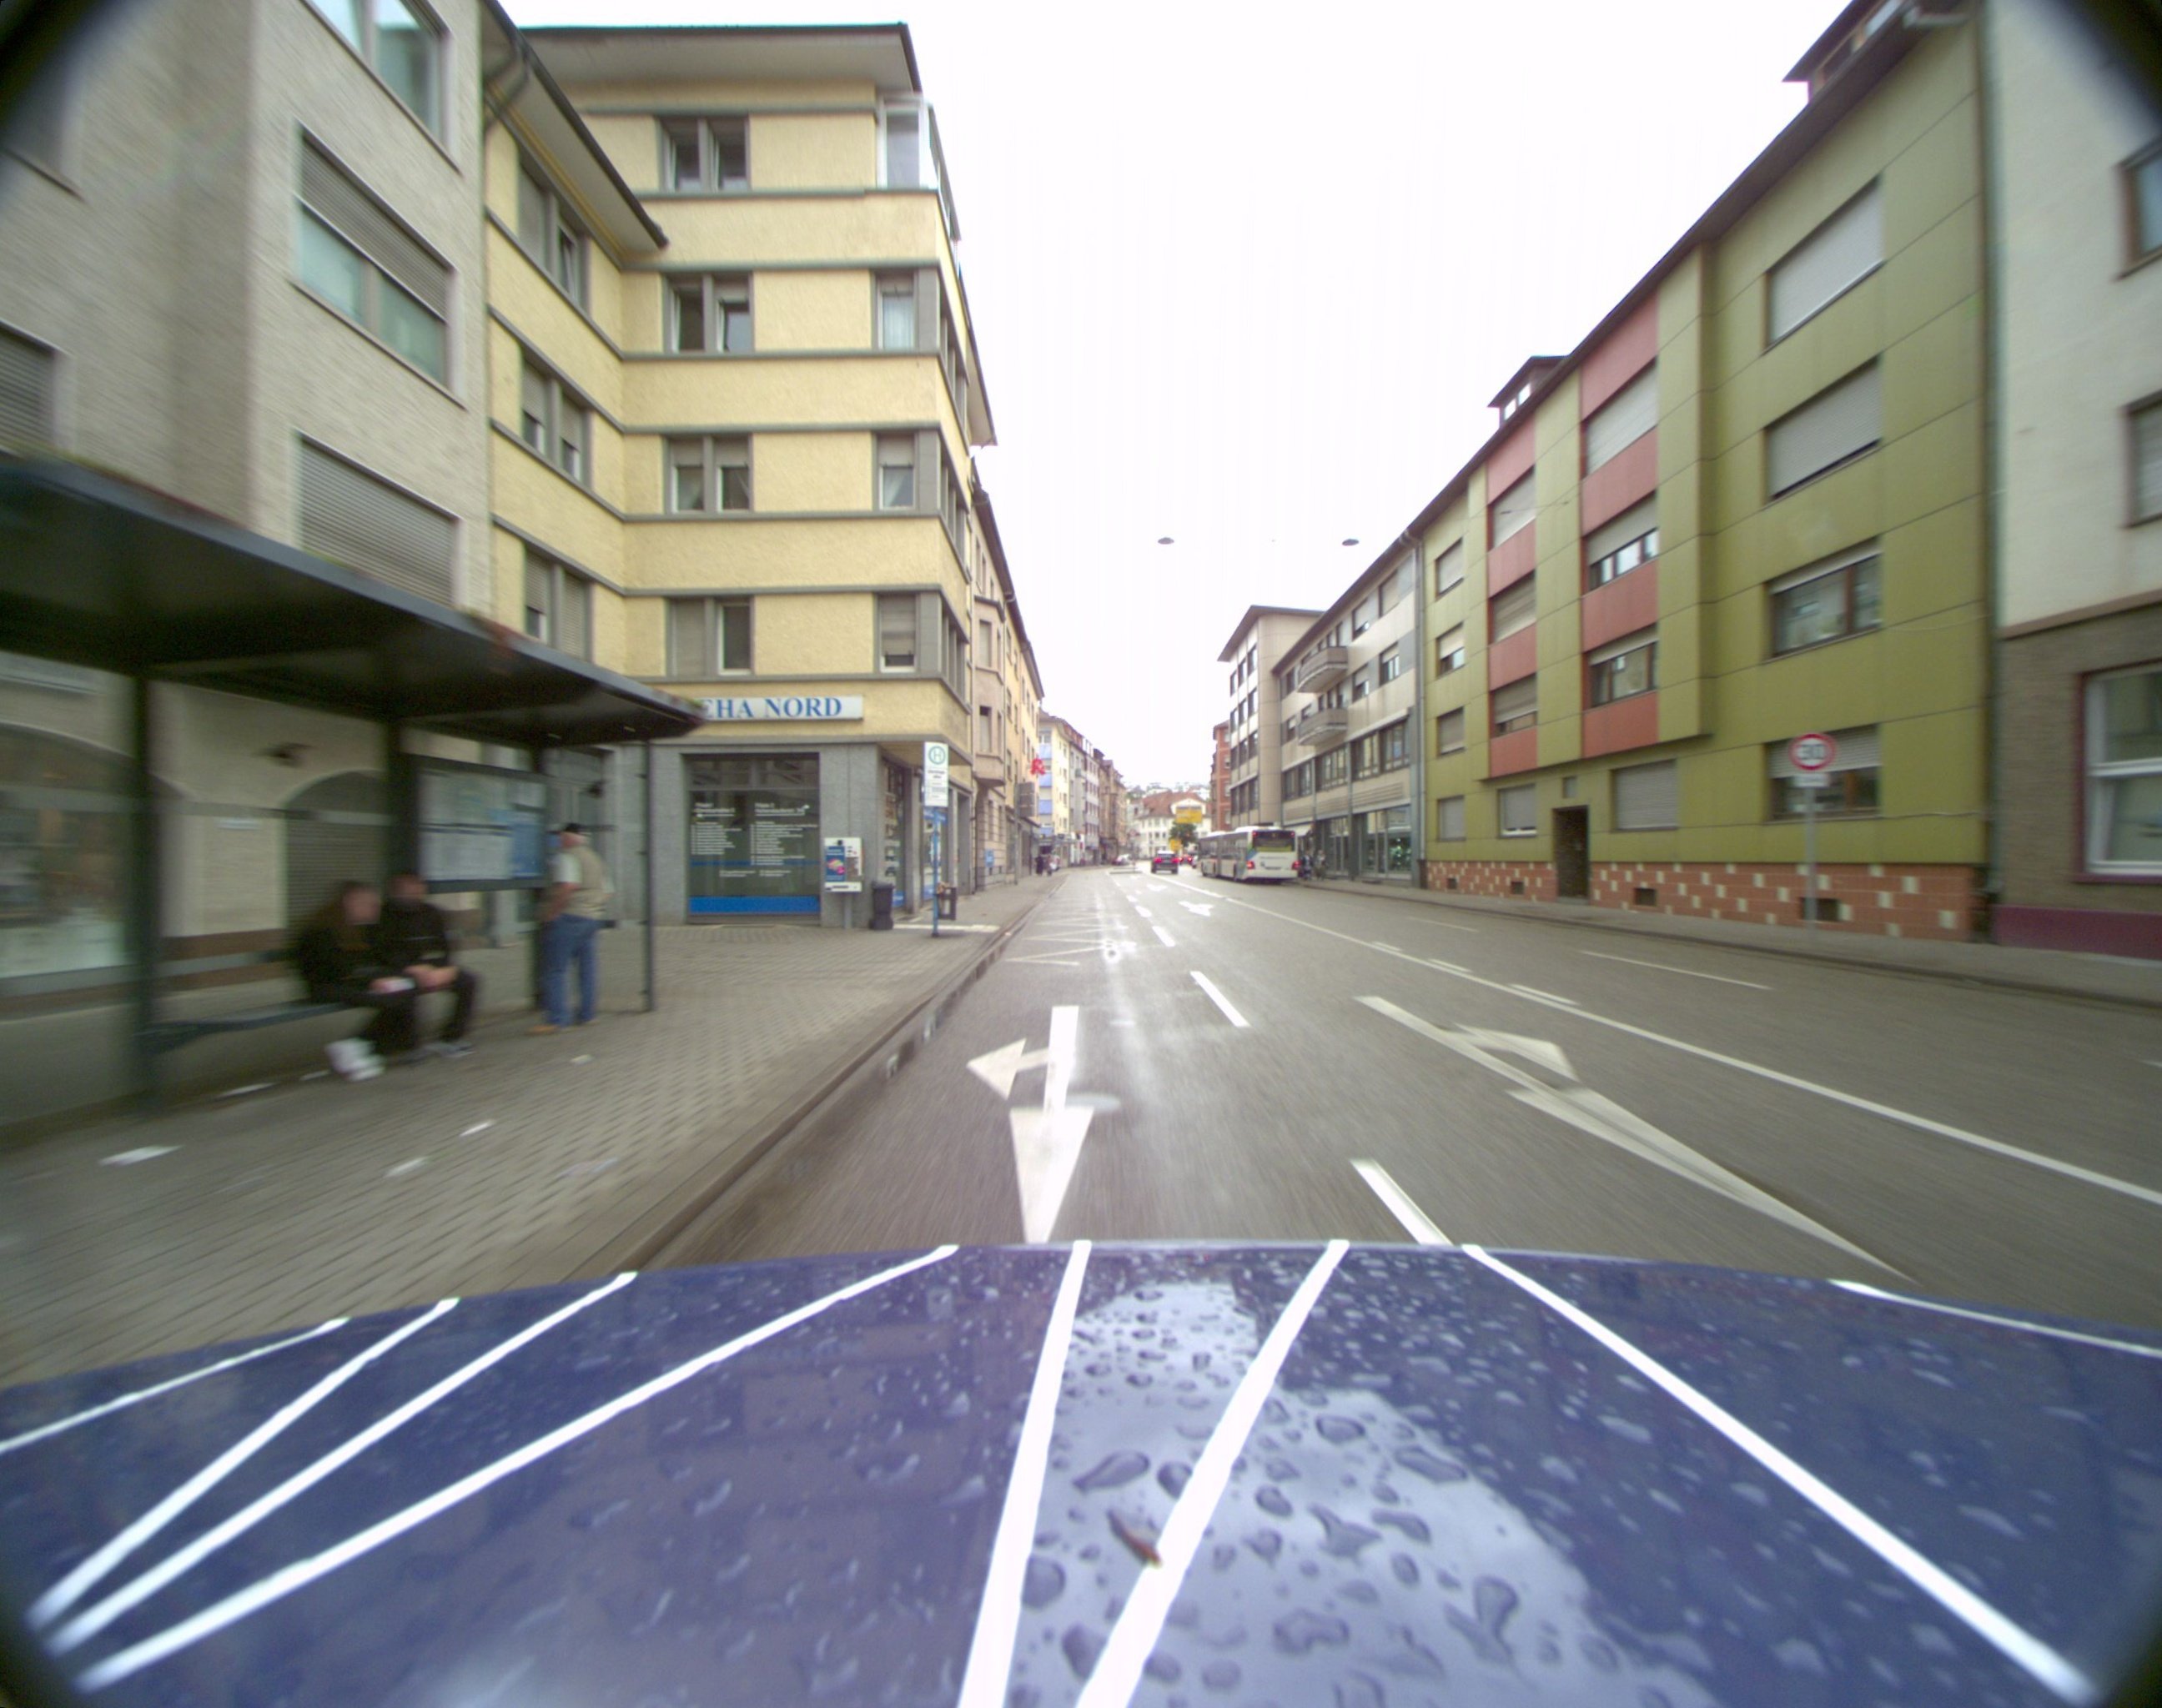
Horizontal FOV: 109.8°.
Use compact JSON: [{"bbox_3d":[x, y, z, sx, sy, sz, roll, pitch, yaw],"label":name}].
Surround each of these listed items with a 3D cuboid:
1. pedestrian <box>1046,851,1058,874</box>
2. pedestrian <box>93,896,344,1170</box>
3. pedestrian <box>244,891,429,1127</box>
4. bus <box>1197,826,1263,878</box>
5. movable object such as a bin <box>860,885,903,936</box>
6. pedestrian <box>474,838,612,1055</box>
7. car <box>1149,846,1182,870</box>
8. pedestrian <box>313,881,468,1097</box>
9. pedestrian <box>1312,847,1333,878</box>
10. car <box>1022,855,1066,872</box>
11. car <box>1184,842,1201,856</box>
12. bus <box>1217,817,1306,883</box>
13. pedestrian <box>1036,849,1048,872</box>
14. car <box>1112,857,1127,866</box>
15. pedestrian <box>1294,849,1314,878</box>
[{"bbox_3d":[-1.985,0.593,52.031,0.780,1.551,0.782,0,1,-1],"label":"pedestrian"},{"bbox_3d":[-4.605,0.913,4.106,0.607,1.328,0.625,0,1,0],"label":"pedestrian"},{"bbox_3d":[-4.600,0.921,4.731,0.535,1.342,0.596,0,1,0],"label":"pedestrian"},{"bbox_3d":[9.715,-0.190,50.646,2.765,3.170,8.911,0,1,1],"label":"bus"},{"bbox_3d":[-3.769,1.059,14.388,0.601,0.921,0.704,0,1,1],"label":"movable object such as a bin"},{"bbox_3d":[-4.400,0.718,6.257,0.620,1.689,0.656,0,1,5],"label":"pedestrian"},{"bbox_3d":[6.377,0.268,57.766,1.936,1.747,4.572,0,1,-1],"label":"car"},{"bbox_3d":[-4.717,0.890,5.224,0.565,1.388,0.514,0,1,-2],"label":"pedestrian"},{"bbox_3d":[12.464,0.444,39.274,0.839,1.605,0.711,0,1,1],"label":"pedestrian"},{"bbox_3d":[-3.481,0.906,71.333,3.833,1.565,1.937,0,1,6],"label":"car"},{"bbox_3d":[19.818,-0.869,135.320,2.091,2.421,6.351,0,1,-1],"label":"car"},{"bbox_3d":[9.593,-0.247,41.515,2.732,3.170,9.292,0,1,1],"label":"bus"},{"bbox_3d":[-2.695,0.452,52.049,0.770,1.551,0.876,0,1,-1],"label":"pedestrian"},{"bbox_3d":[5.846,1.153,114.897,1.747,1.361,4.318,0,0,9],"label":"car"},{"bbox_3d":[11.550,0.485,39.334,0.801,1.526,0.711,0,1,1],"label":"pedestrian"}]
